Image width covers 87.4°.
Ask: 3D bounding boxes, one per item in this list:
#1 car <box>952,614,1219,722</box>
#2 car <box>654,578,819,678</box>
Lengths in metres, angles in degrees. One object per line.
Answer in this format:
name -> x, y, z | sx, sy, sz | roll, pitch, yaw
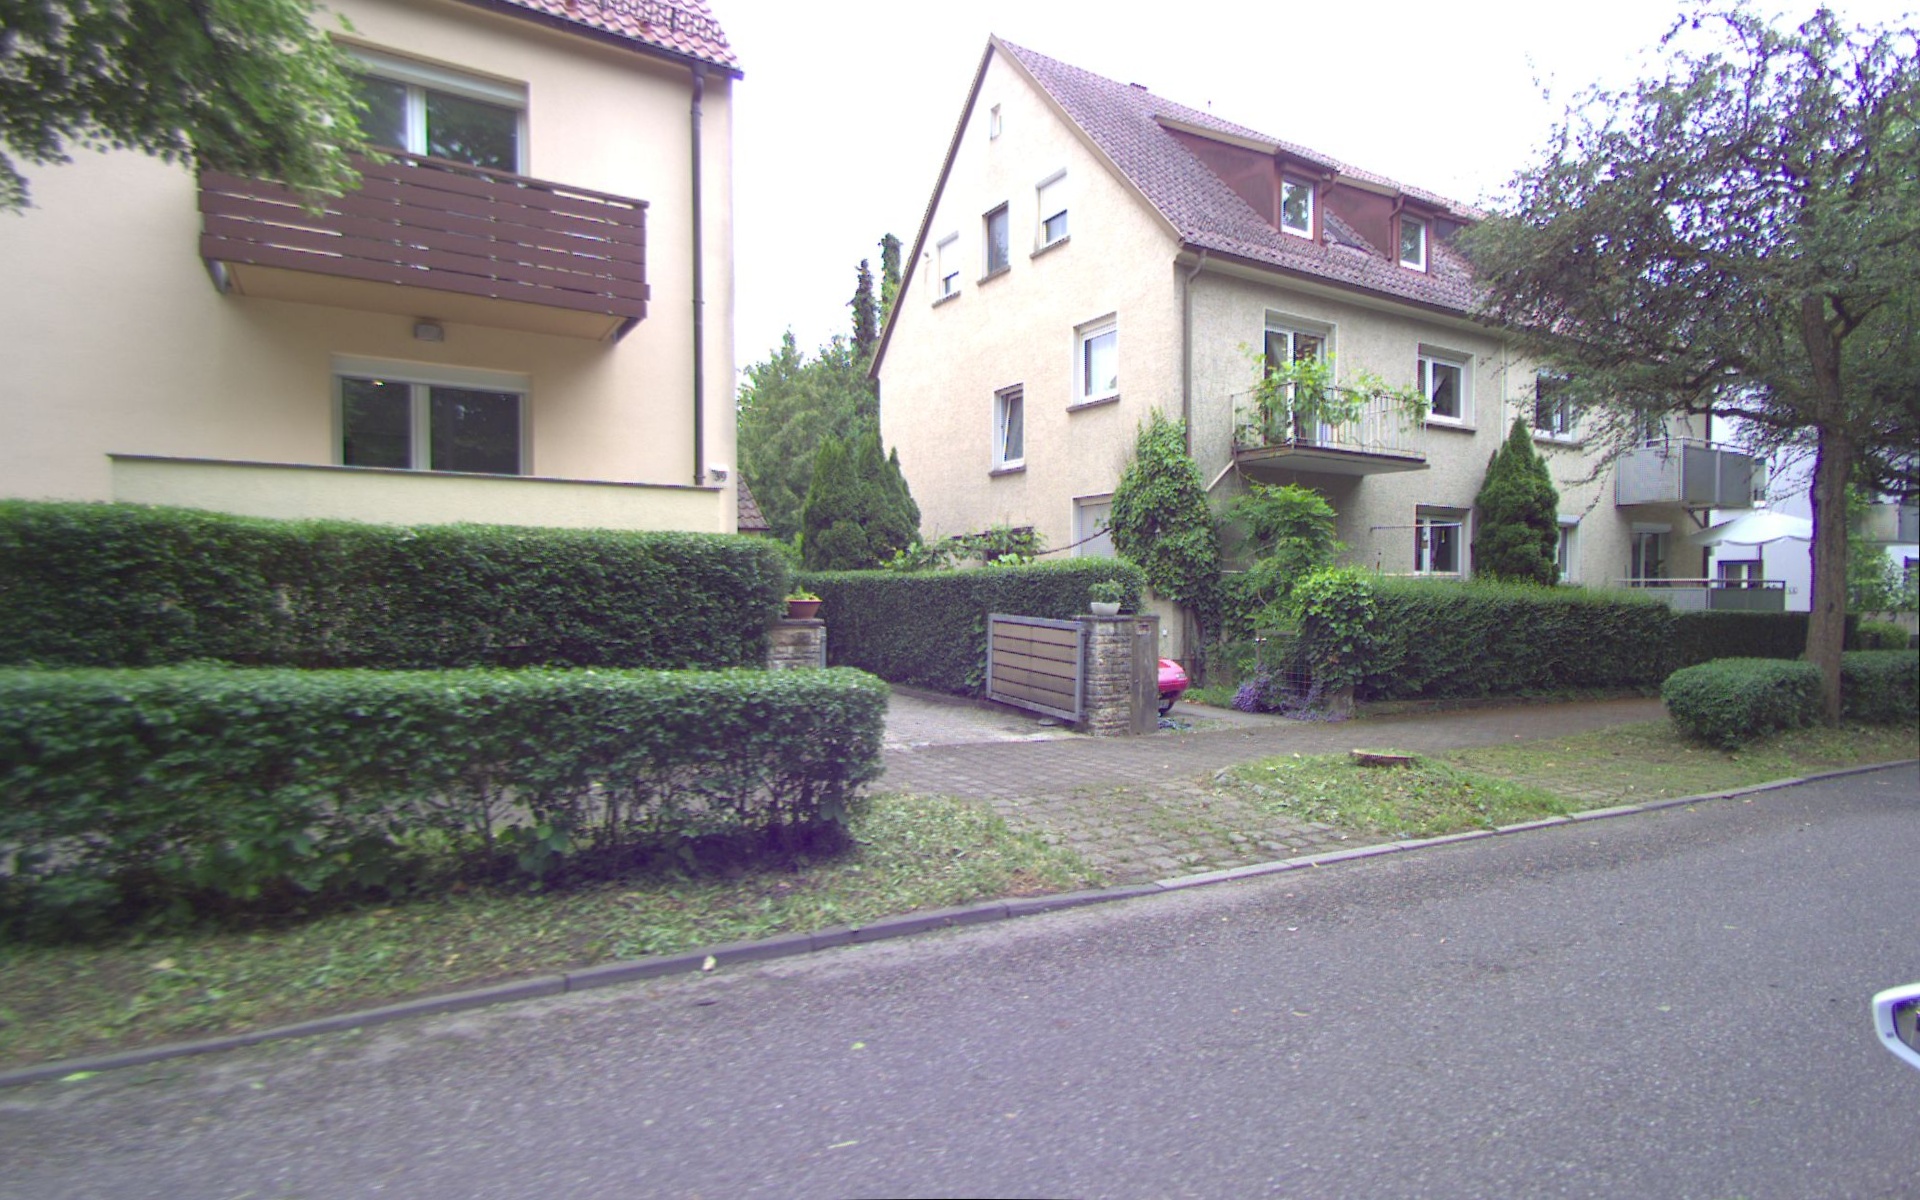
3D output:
car -> 1.607, 0.861, 14.257 | 1.679, 1.215, 3.966 | 1, 0, -31
car -> -4.059, 0.427, 17.783 | 1.679, 1.461, 3.874 | 1, 2, -31
